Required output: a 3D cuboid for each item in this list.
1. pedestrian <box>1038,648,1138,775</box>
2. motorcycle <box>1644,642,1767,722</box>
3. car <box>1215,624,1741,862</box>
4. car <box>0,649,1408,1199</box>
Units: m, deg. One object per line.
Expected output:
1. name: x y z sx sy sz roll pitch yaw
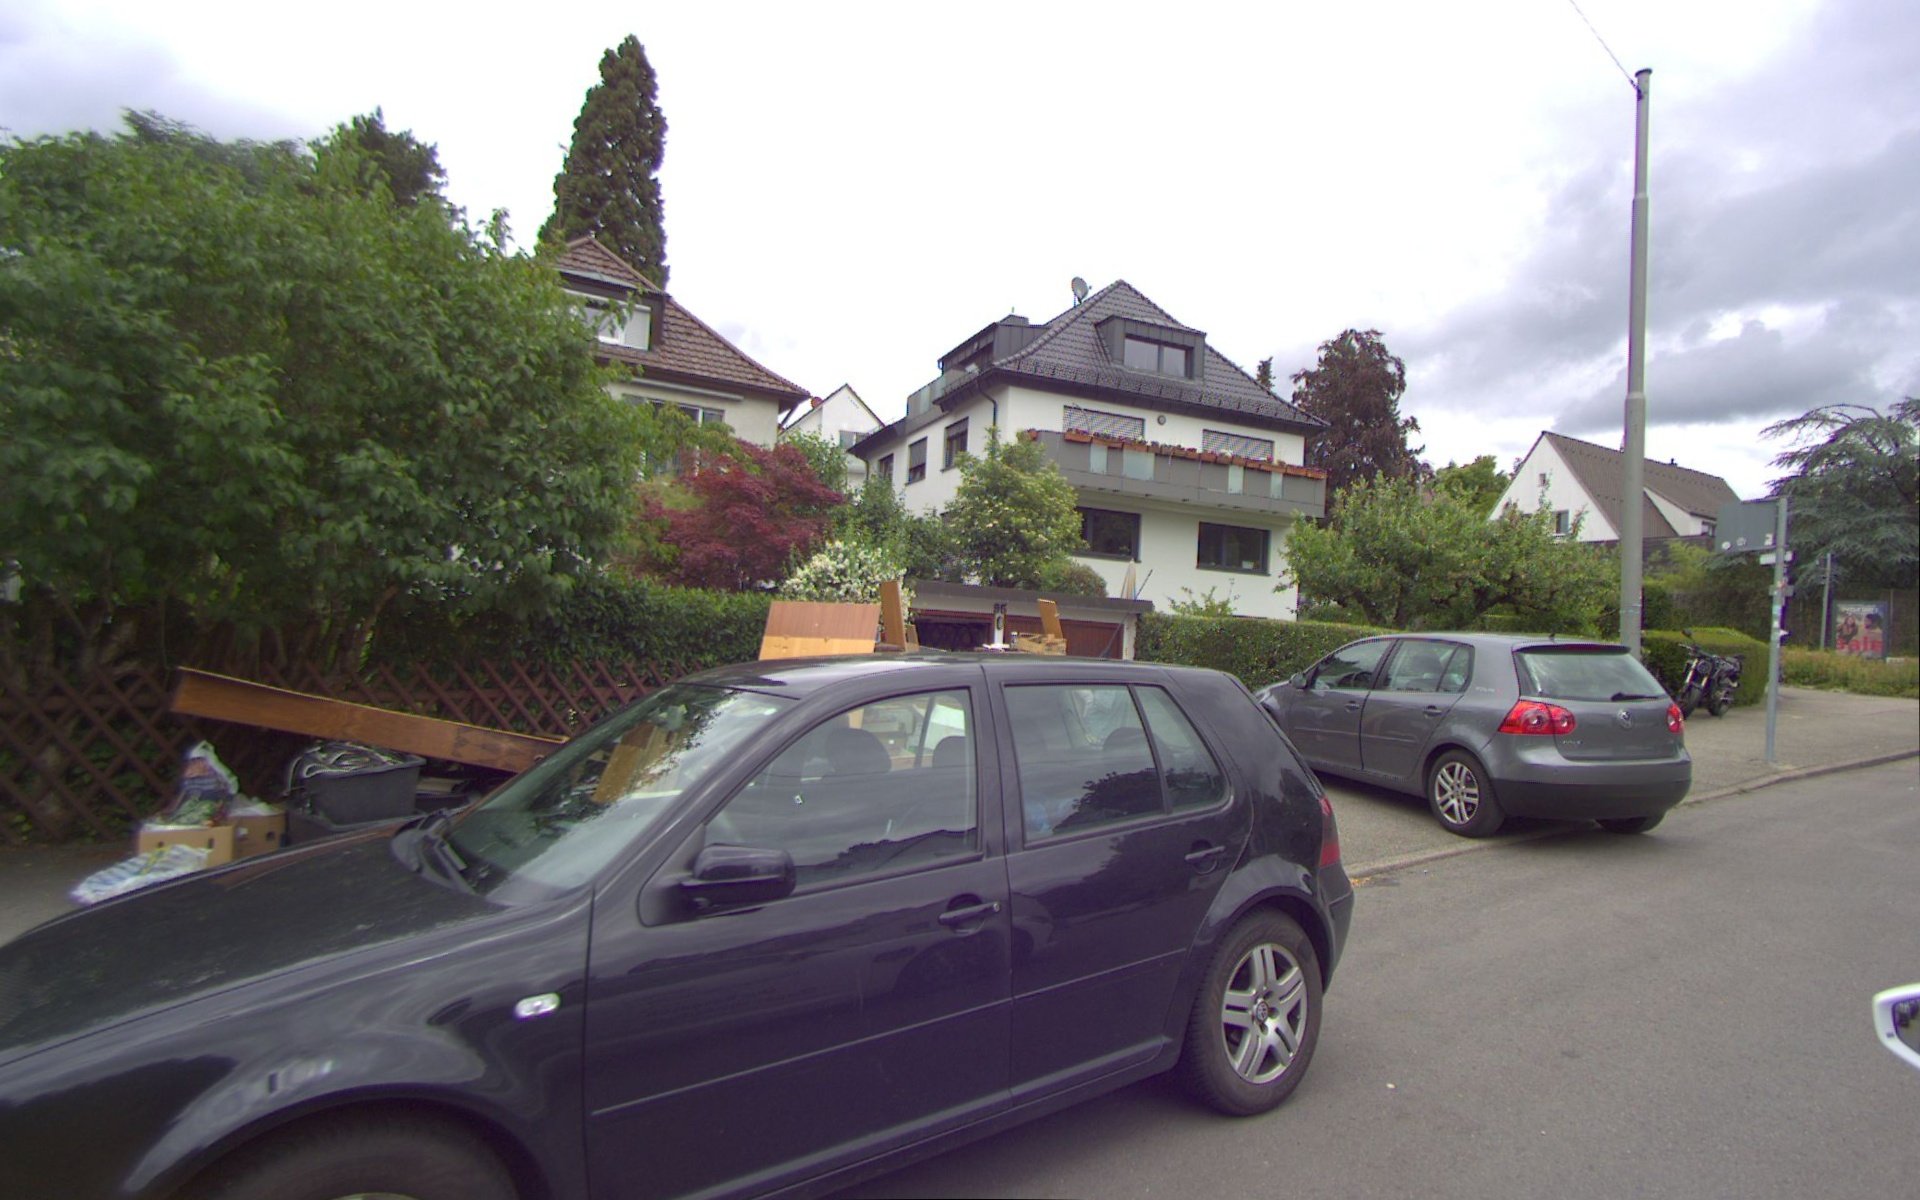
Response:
1. pedestrian: 1.391 1.162 10.770 0.930 1.241 0.837 2 -1 15
2. motorcycle: 11.658 1.244 15.664 2.597 1.131 0.724 2 0 -35
3. car: 4.063 0.989 8.710 1.797 1.463 3.986 1 0 -17
4. car: -0.523 0.871 3.016 3.949 1.413 1.626 1 -3 -35
